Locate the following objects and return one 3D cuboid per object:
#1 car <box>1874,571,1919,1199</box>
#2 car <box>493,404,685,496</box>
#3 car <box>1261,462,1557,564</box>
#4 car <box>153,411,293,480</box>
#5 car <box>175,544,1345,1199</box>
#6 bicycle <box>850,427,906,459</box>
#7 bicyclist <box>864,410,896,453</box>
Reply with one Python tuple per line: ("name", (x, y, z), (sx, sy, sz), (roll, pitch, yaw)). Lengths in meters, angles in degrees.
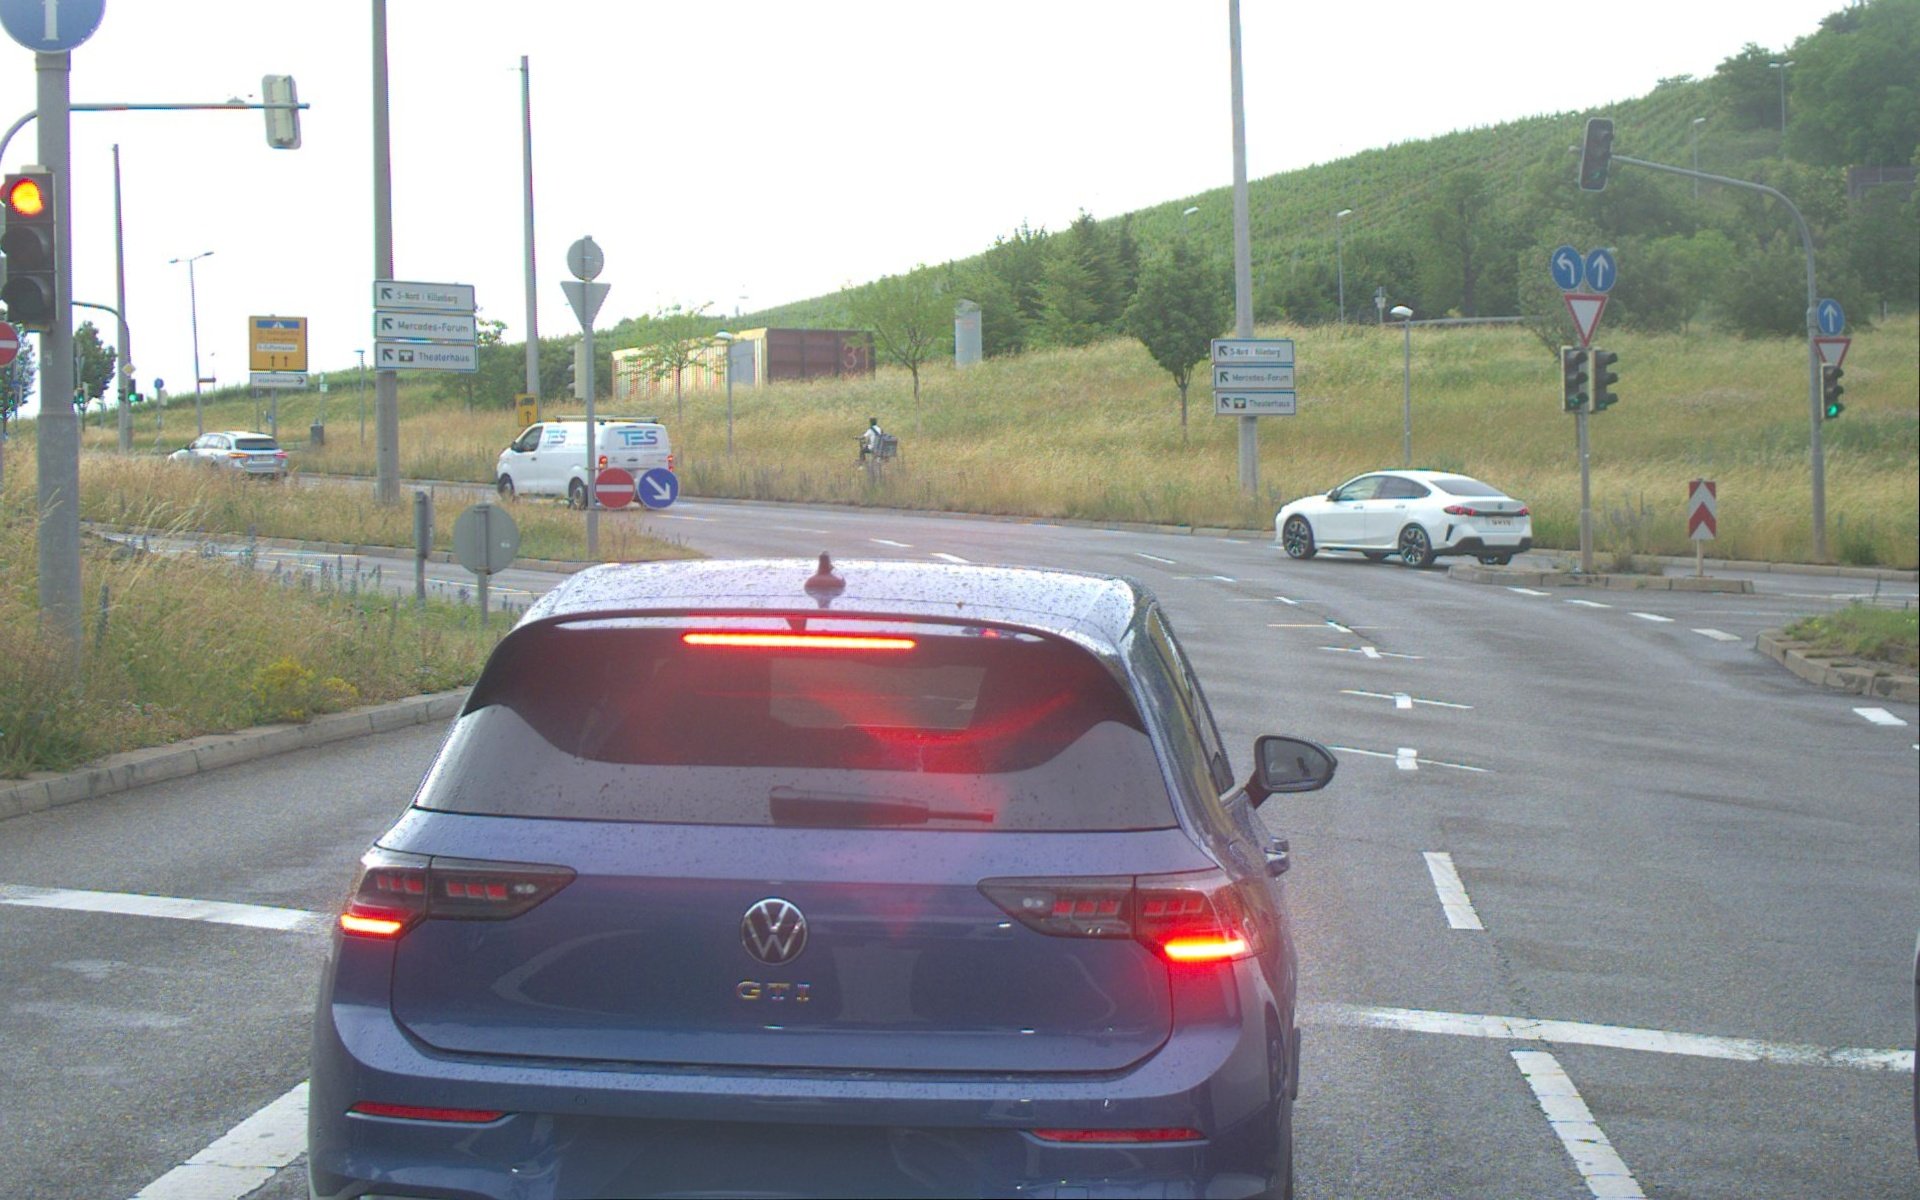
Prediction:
("car", (2.948, 0.698, 6.586), (1.658, 1.498, 3.450), (1, 0, 4))
("car", (-8.029, -3.193, 74.047), (2.129, 1.788, 4.740), (0, 0, -34))
("car", (6.841, -1.314, 52.775), (1.994, 1.472, 4.420), (0, 0, -37))
("car", (-19.664, -4.090, 91.575), (1.994, 1.654, 4.544), (0, 0, -35))
("car", (-0.208, 0.635, 7.264), (1.825, 1.455, 3.808), (1, 1, 4))
("bicycle", (-2.082, -3.982, 87.172), (0.518, 0.772, 1.621), (2, 2, -37))
("bicyclist", (-2.027, -4.267, 87.126), (0.523, 1.043, 0.580), (3, 1, -36))
